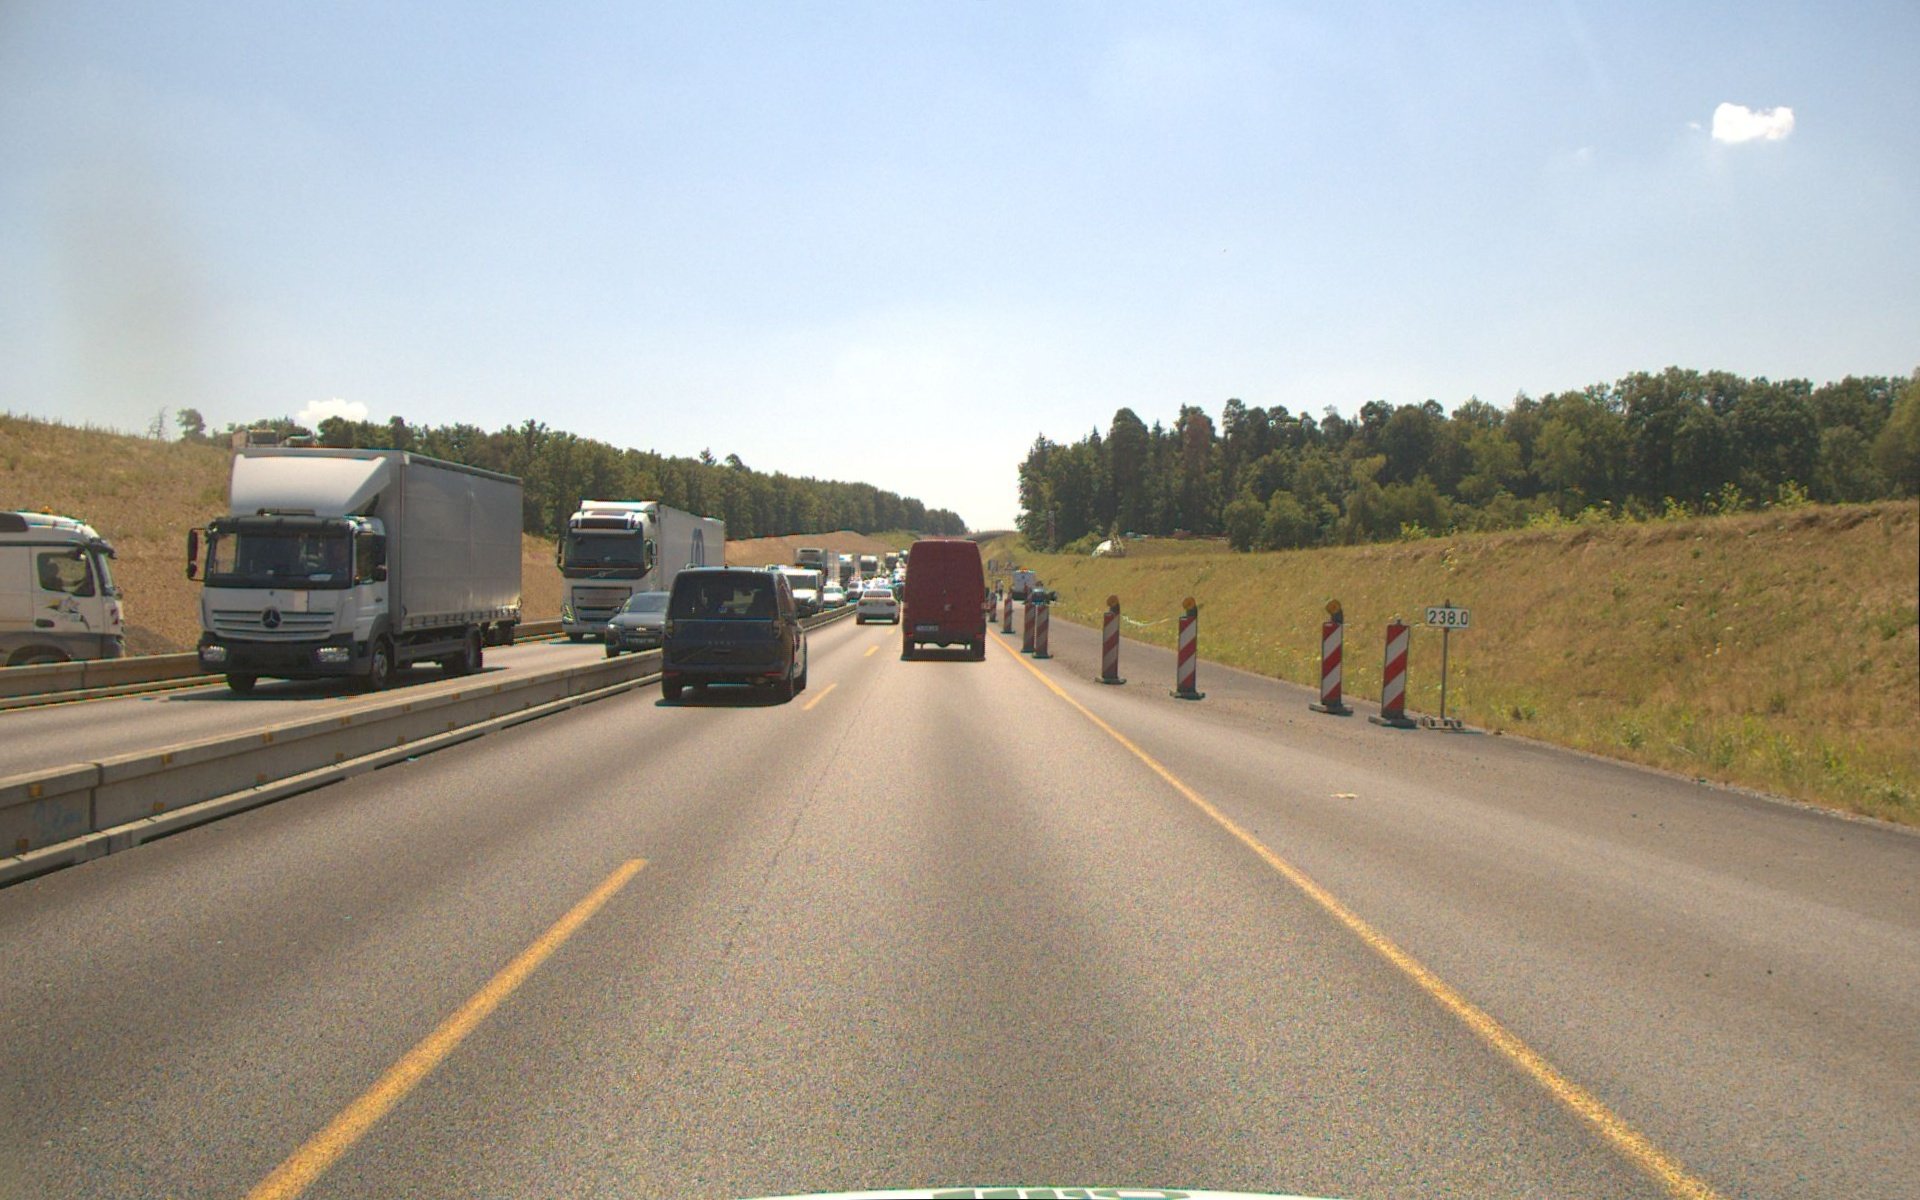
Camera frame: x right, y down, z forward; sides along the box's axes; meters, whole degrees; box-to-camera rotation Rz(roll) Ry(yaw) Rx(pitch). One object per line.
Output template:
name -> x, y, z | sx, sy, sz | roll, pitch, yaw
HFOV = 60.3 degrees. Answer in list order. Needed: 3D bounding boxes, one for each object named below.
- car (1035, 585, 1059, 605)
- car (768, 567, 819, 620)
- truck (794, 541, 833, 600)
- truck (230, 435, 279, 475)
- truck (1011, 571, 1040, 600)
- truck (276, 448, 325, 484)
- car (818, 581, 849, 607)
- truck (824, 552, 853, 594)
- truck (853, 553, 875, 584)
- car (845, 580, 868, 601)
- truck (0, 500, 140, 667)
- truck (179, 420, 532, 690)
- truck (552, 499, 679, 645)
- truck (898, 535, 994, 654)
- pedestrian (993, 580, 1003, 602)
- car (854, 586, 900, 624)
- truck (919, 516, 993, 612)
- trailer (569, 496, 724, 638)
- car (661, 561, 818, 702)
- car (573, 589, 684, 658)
car -> 6.822, -0.409, 129.713 | 1.620, 1.451, 4.545 | -2, 1, 0
car -> -7.703, -0.324, 77.054 | 1.953, 2.332, 5.342 | 1, 1, -2
truck -> -11.084, -2.219, 125.550 | 2.441, 4.271, 5.910 | -1, 0, -1
truck -> -64.295, -13.156, 150.634 | 2.335, 2.949, 8.261 | 1, 0, -36
truck -> 5.867, -1.302, 147.712 | 2.084, 2.499, 5.930 | 1, 1, 6
truck -> -63.245, -12.770, 158.609 | 2.277, 2.797, 8.793 | 1, 0, -36
car -> -7.729, -0.362, 101.151 | 1.654, 1.528, 3.975 | 1, 0, -1
truck -> -12.150, -2.683, 165.549 | 2.539, 4.124, 5.148 | 1, 1, -2
truck -> -13.093, -4.239, 225.988 | 2.712, 4.114, 4.943 | 1, 0, 0
car -> -8.233, -0.727, 131.945 | 1.654, 1.642, 4.592 | 1, 0, -1
truck -> -18.194, -0.312, 30.987 | 4.985, 3.016, 2.565 | 1, 0, -27
truck -> -9.757, -0.623, 28.101 | 2.591, 3.781, 9.480 | 1, 0, -1
truck -> -10.205, -0.789, 49.377 | 2.791, 4.088, 4.858 | -1, 0, -1
truck -> -0.396, -0.119, 39.549 | 2.110, 2.635, 5.331 | 1, 0, -2
pedestrian -> 3.297, -0.804, 144.146 | 0.712, 1.860, 0.716 | 1, 0, -18
car -> -3.544, 0.210, 70.841 | 1.794, 1.548, 3.960 | 1, 0, -1
truck -> -0.331, -2.127, 105.817 | 4.310, 5.592, 16.600 | 1, 0, -1
trailer -> -10.231, -0.977, 55.729 | 2.796, 4.165, 13.649 | -1, 0, -1
car -> -3.141, 0.387, 24.454 | 1.716, 1.856, 4.782 | 1, 1, -1
car -> -7.518, 0.508, 37.924 | 1.820, 1.467, 4.498 | 1, 0, -3
